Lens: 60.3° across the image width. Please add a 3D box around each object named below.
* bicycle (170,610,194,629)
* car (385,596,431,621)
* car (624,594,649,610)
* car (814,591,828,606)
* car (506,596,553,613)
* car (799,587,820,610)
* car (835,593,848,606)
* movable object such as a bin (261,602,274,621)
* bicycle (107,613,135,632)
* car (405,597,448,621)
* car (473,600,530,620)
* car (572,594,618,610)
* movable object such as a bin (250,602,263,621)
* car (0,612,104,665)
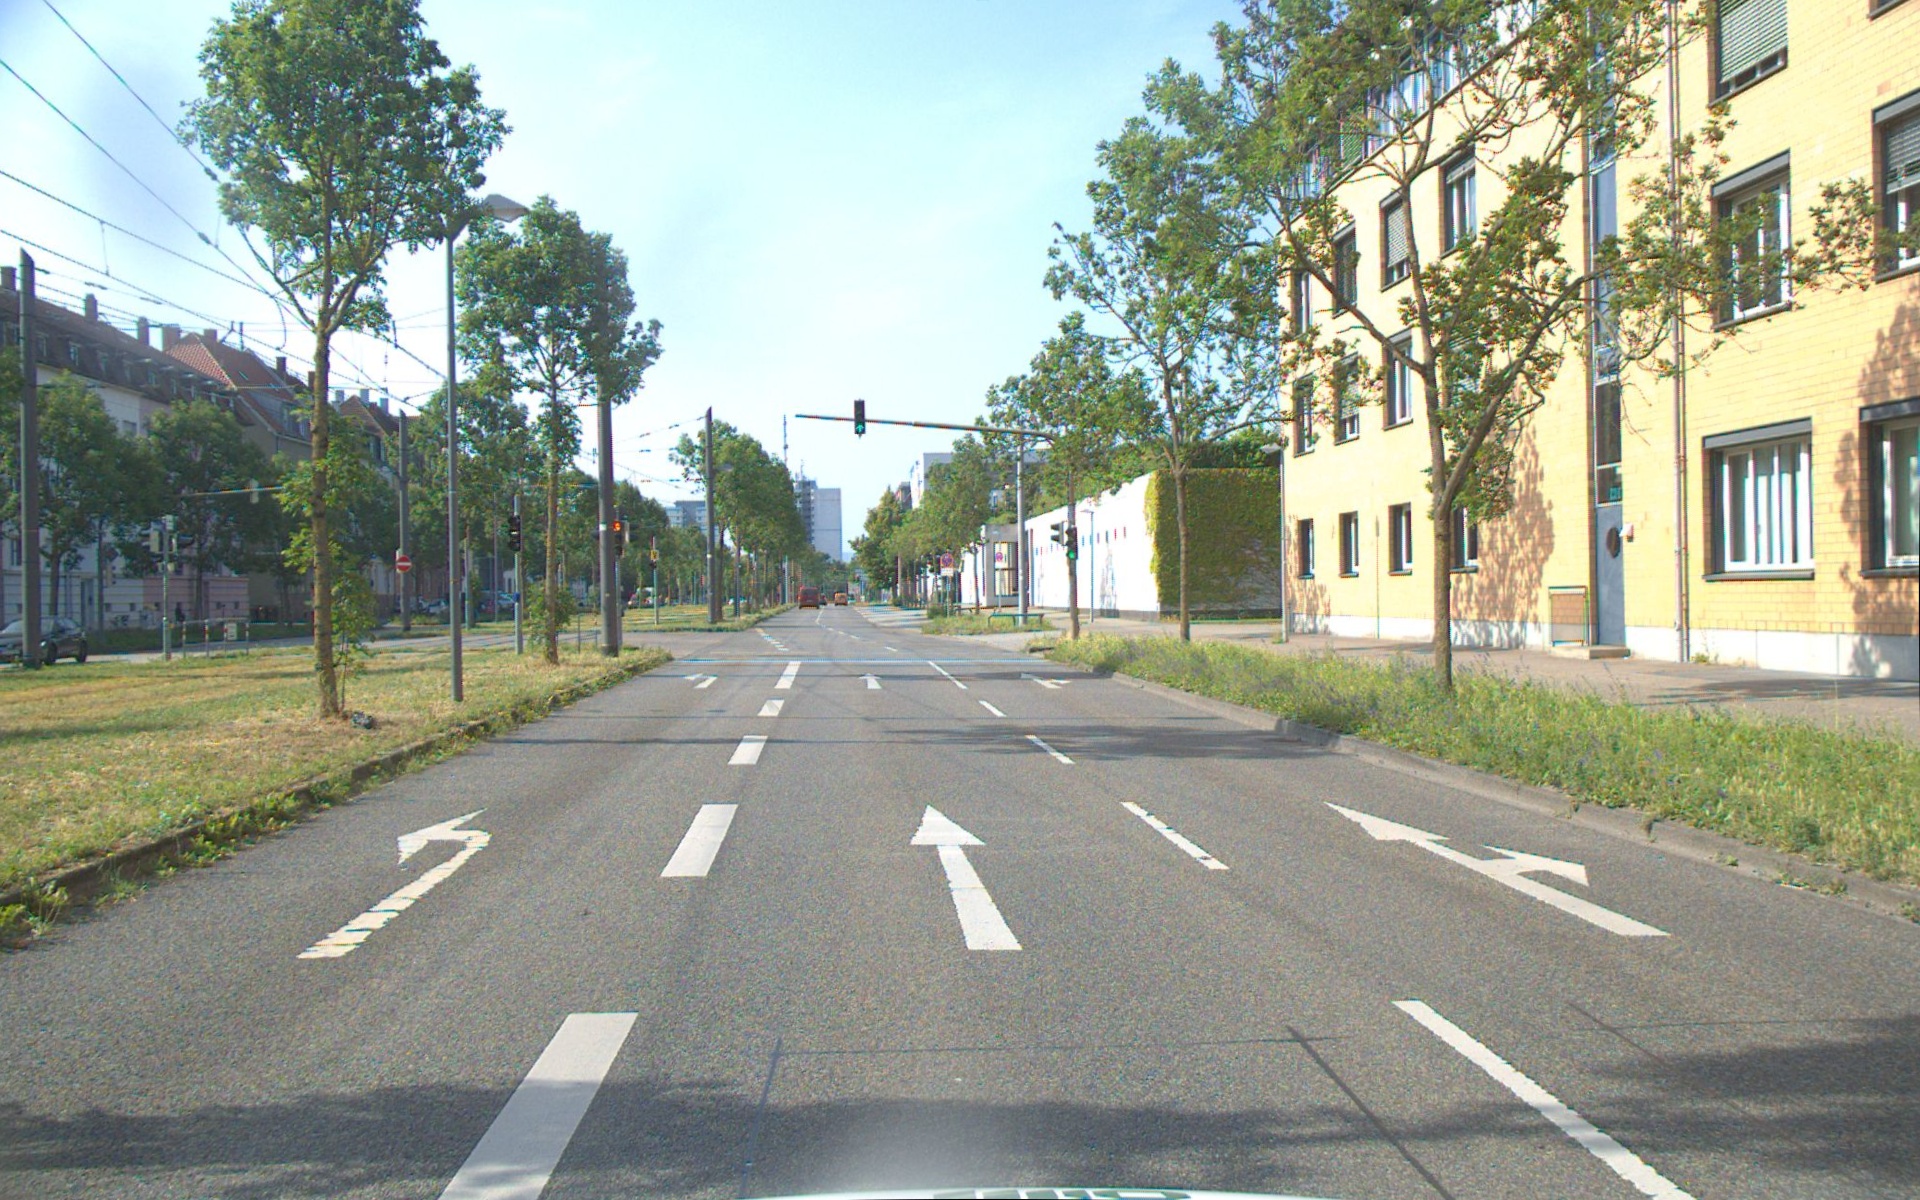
[{"bbox_3d":[-38.095,0.953,81.005,0.439,0.872,1.945,1,0,-6],"label":"bicycle"},{"bbox_3d":[-38.065,0.569,114.151,1.955,1.657,4.769,1,0,-6],"label":"car"},{"bbox_3d":[-36.574,0.271,186.972,1.925,1.724,4.296,1,0,-1],"label":"car"},{"bbox_3d":[-18.630,-0.193,221.801,1.714,2.049,3.213,1,-1,-4],"label":"car"},{"bbox_3d":[-38.128,0.370,146.463,3.908,1.442,1.576,1,-1,26],"label":"car"},{"bbox_3d":[-13.360,-0.113,146.713,1.714,2.049,3.213,1,-1,-4],"label":"car"},{"bbox_3d":[-16.233,-0.057,226.381,1.714,1.679,3.213,1,0,-4],"label":"car"},{"bbox_3d":[-45.117,0.760,107.809,0.574,1.232,0.639,1,-1,-6],"label":"movable object such as a bin"},{"bbox_3d":[-37.691,1.012,74.352,0.429,0.803,1.945,1,0,-6],"label":"bicycle"},{"bbox_3d":[-38.633,0.641,119.869,1.852,1.657,4.154,1,0,-2],"label":"car"},{"bbox_3d":[-36.231,0.771,130.657,4.382,1.444,1.970,1,-1,33],"label":"car"},{"bbox_3d":[-42.316,0.266,191.934,5.210,1.768,1.996,1,-1,29],"label":"car"},{"bbox_3d":[-45.789,0.744,107.697,0.574,1.232,0.639,1,-1,-6],"label":"movable object such as a bin"},{"bbox_3d":[-27.113,1.111,48.909,1.777,1.458,3.921,1,0,-5],"label":"car"}]
